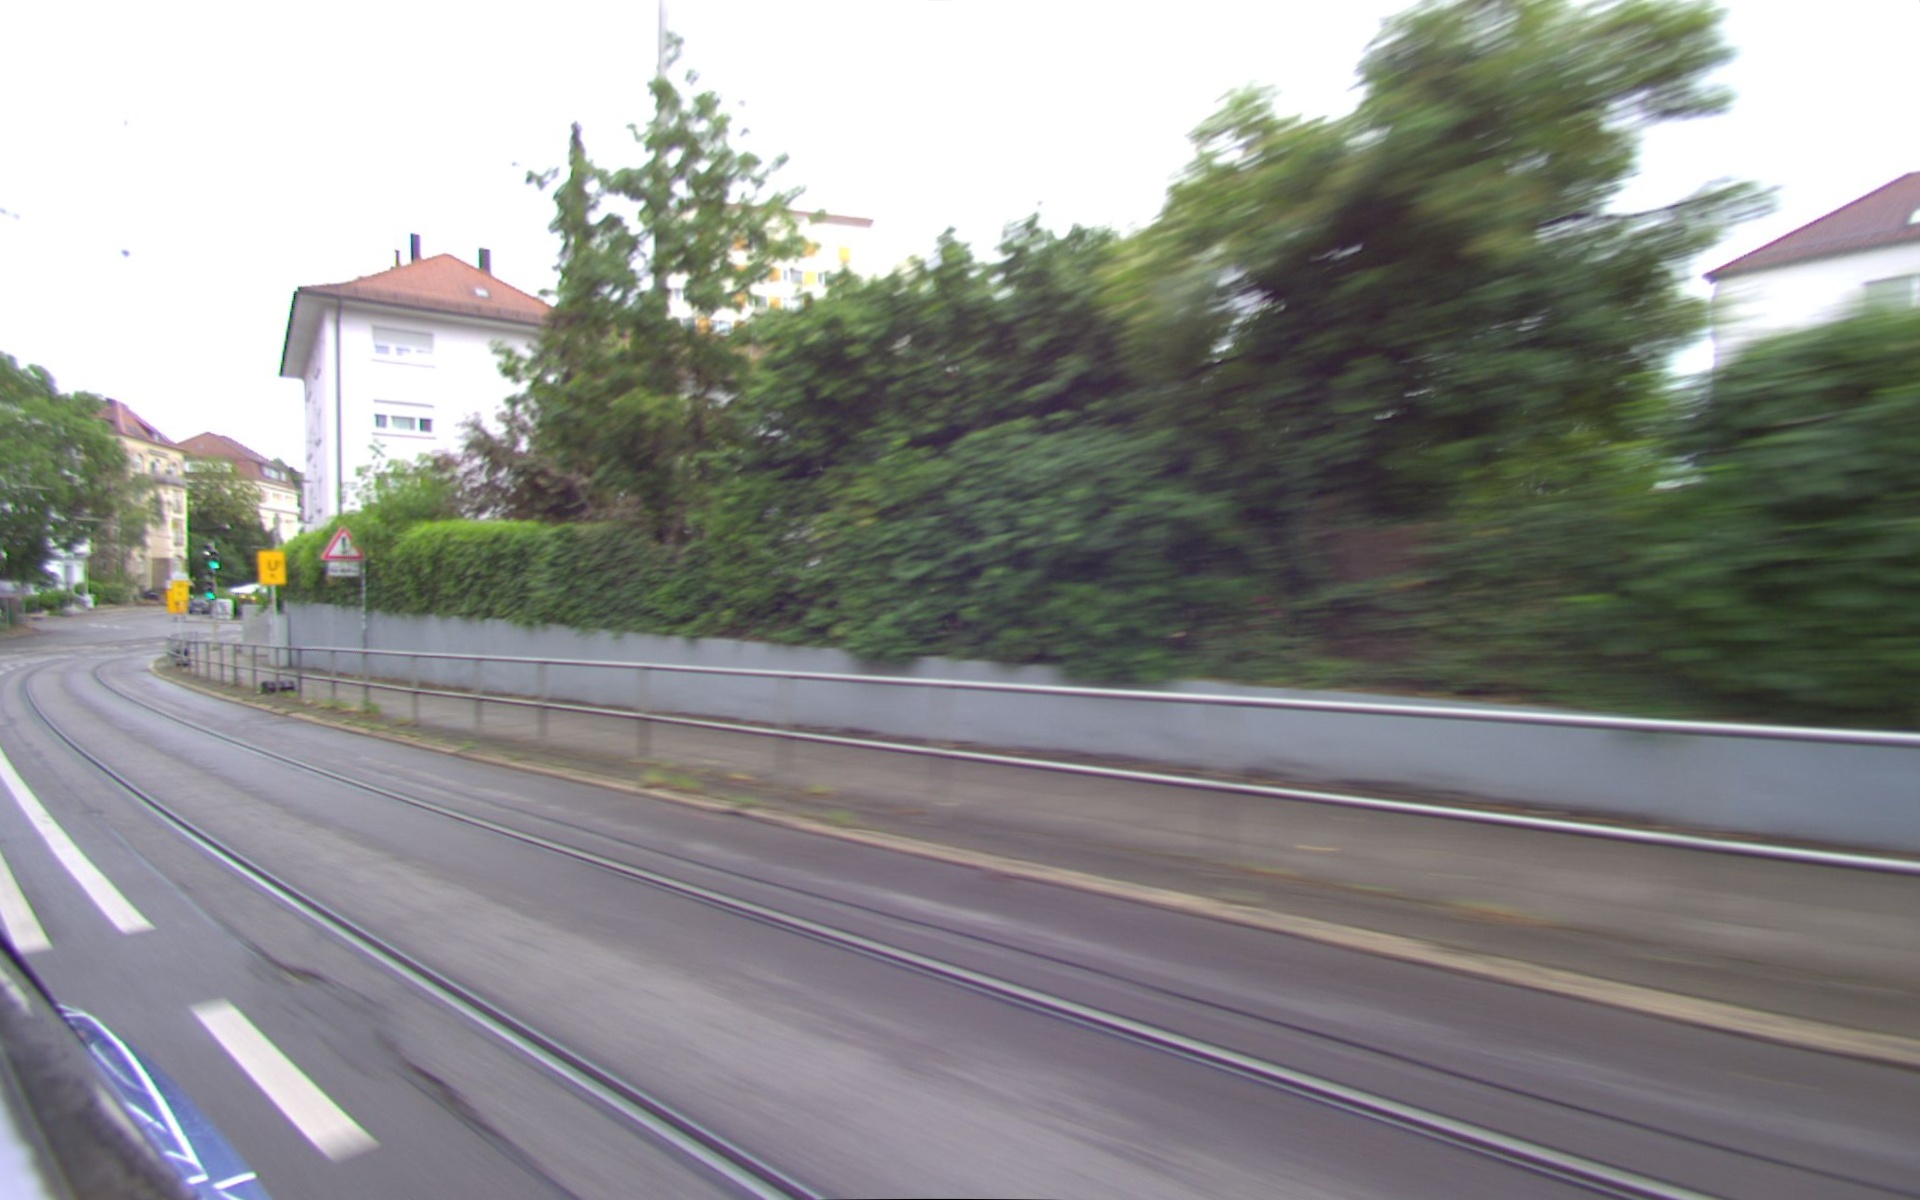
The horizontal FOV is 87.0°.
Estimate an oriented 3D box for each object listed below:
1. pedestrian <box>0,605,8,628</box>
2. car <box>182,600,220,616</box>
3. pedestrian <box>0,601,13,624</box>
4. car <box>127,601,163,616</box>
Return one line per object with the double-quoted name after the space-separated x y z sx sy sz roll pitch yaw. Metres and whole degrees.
-68.642 1.191 72.447 0.536 1.642 0.603 0 -3 -24 "pedestrian"
-69.741 0.723 93.064 1.664 1.453 3.816 1 0 -19 "car"
-67.040 0.877 71.017 0.593 1.578 0.546 -1 -3 -1 "pedestrian"
-83.993 0.890 104.356 1.573 1.351 3.645 0 -3 -17 "car"
